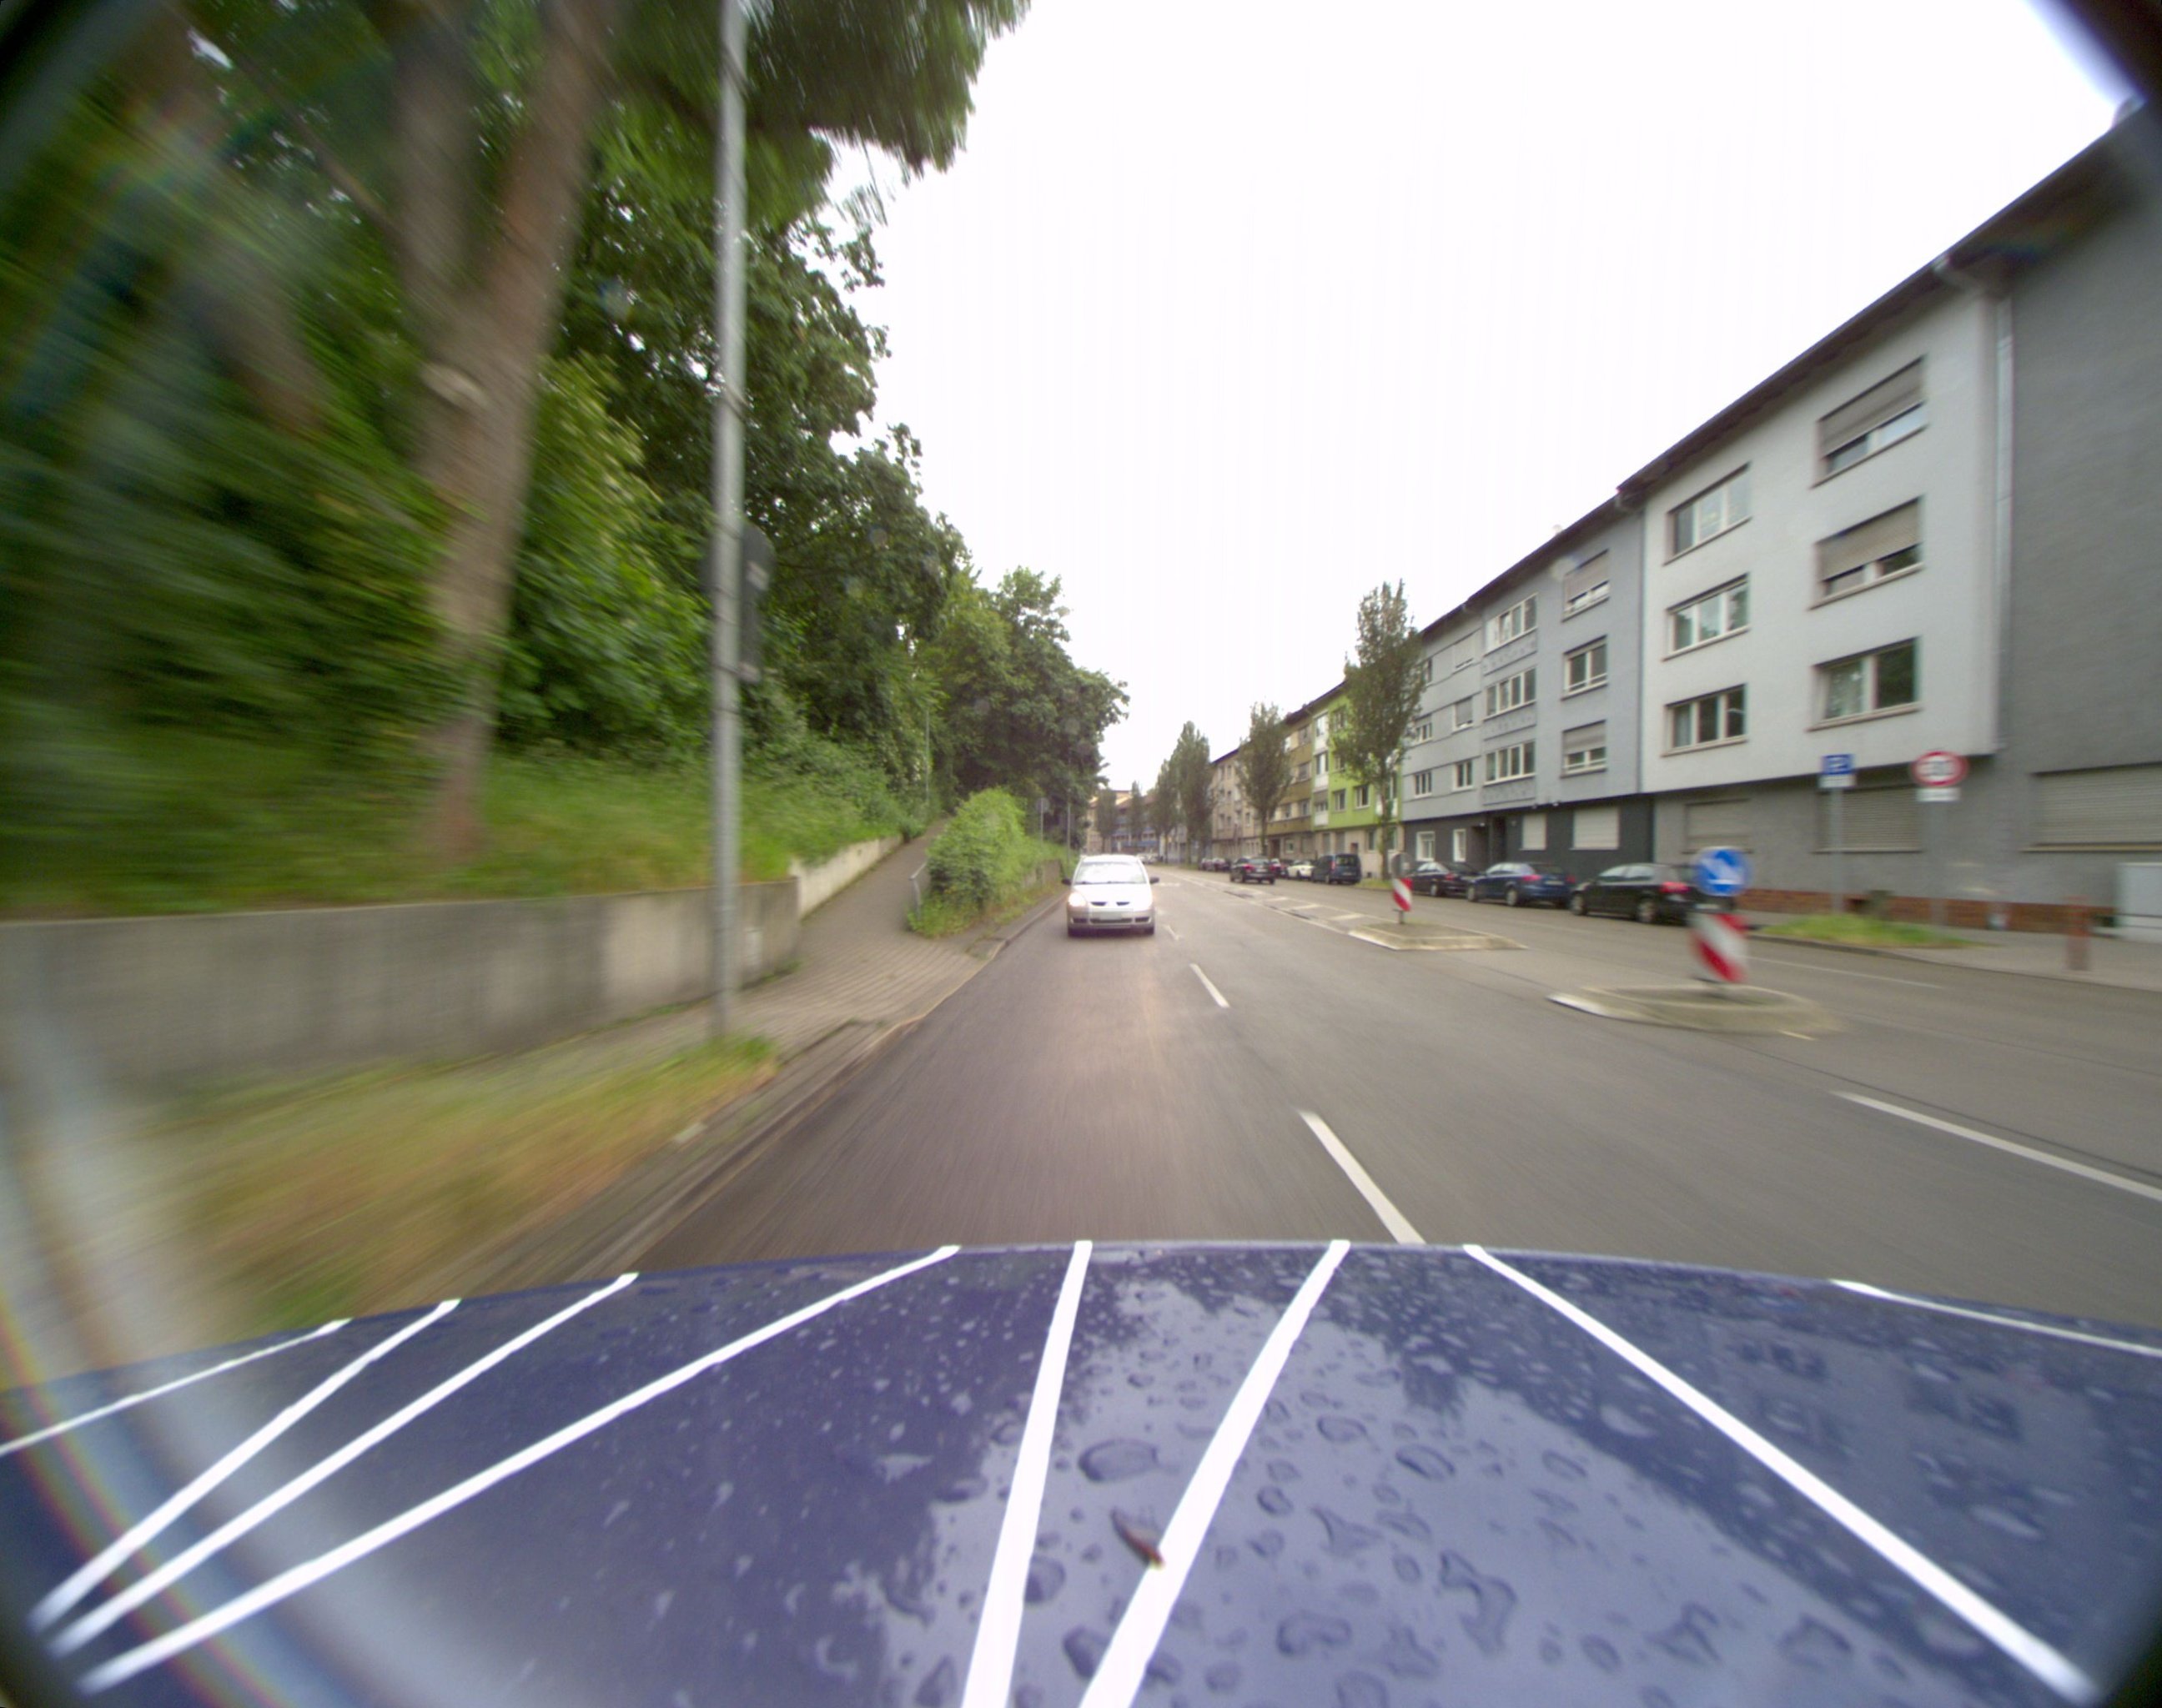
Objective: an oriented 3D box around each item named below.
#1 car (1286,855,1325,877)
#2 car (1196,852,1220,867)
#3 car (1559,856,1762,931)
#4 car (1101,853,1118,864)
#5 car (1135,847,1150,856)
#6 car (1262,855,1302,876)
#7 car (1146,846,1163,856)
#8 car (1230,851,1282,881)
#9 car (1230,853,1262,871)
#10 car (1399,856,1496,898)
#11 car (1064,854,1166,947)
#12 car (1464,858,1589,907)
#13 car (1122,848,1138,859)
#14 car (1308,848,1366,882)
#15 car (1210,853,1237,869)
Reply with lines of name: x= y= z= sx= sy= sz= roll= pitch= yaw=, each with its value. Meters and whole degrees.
car: x=14.504 y=0.773 z=49.225 sx=1.547 sy=1.369 sz=3.448 roll=1 pitch=0 yaw=0
car: x=13.560 y=0.593 z=81.282 sx=1.868 sy=1.591 sz=4.173 roll=1 pitch=0 yaw=0
car: x=14.065 y=0.871 z=18.825 sx=1.851 sy=1.536 sz=4.247 roll=-2 pitch=1 yaw=2
car: x=4.018 y=0.675 z=106.661 sx=1.999 sy=1.455 sz=3.998 roll=1 pitch=0 yaw=-3
car: x=10.688 y=-0.488 z=132.206 sx=1.869 sy=1.558 sz=4.170 roll=1 pitch=0 yaw=-7
car: x=14.253 y=0.805 z=54.113 sx=1.547 sy=1.338 sz=4.252 roll=2 pitch=1 yaw=-1
car: x=11.705 y=-0.435 z=121.375 sx=1.868 sy=1.558 sz=4.171 roll=1 pitch=0 yaw=-5
car: x=9.350 y=0.621 z=40.902 sx=1.816 sy=1.507 sz=4.290 roll=2 pitch=0 yaw=1
car: x=14.292 y=0.660 z=66.037 sx=1.868 sy=1.504 sz=3.999 roll=1 pitch=0 yaw=0
car: x=14.424 y=0.860 z=30.169 sx=1.726 sy=1.472 sz=4.315 roll=2 pitch=0 yaw=1
car: x=0.800 y=0.840 z=15.815 sx=1.754 sy=1.586 sz=4.170 roll=-3 pitch=0 yaw=5
car: x=14.200 y=0.861 z=24.488 sx=1.726 sy=1.376 sz=3.926 roll=1 pitch=0 yaw=1
car: x=7.329 y=-0.133 z=113.676 sx=1.868 sy=1.558 sz=4.172 roll=1 pitch=0 yaw=-3
car: x=14.612 y=0.593 z=43.611 sx=1.904 sy=1.859 sz=4.315 roll=0 pitch=1 yaw=1
car: x=14.035 y=0.647 z=74.988 sx=1.868 sy=1.558 sz=4.173 roll=1 pitch=0 yaw=0
